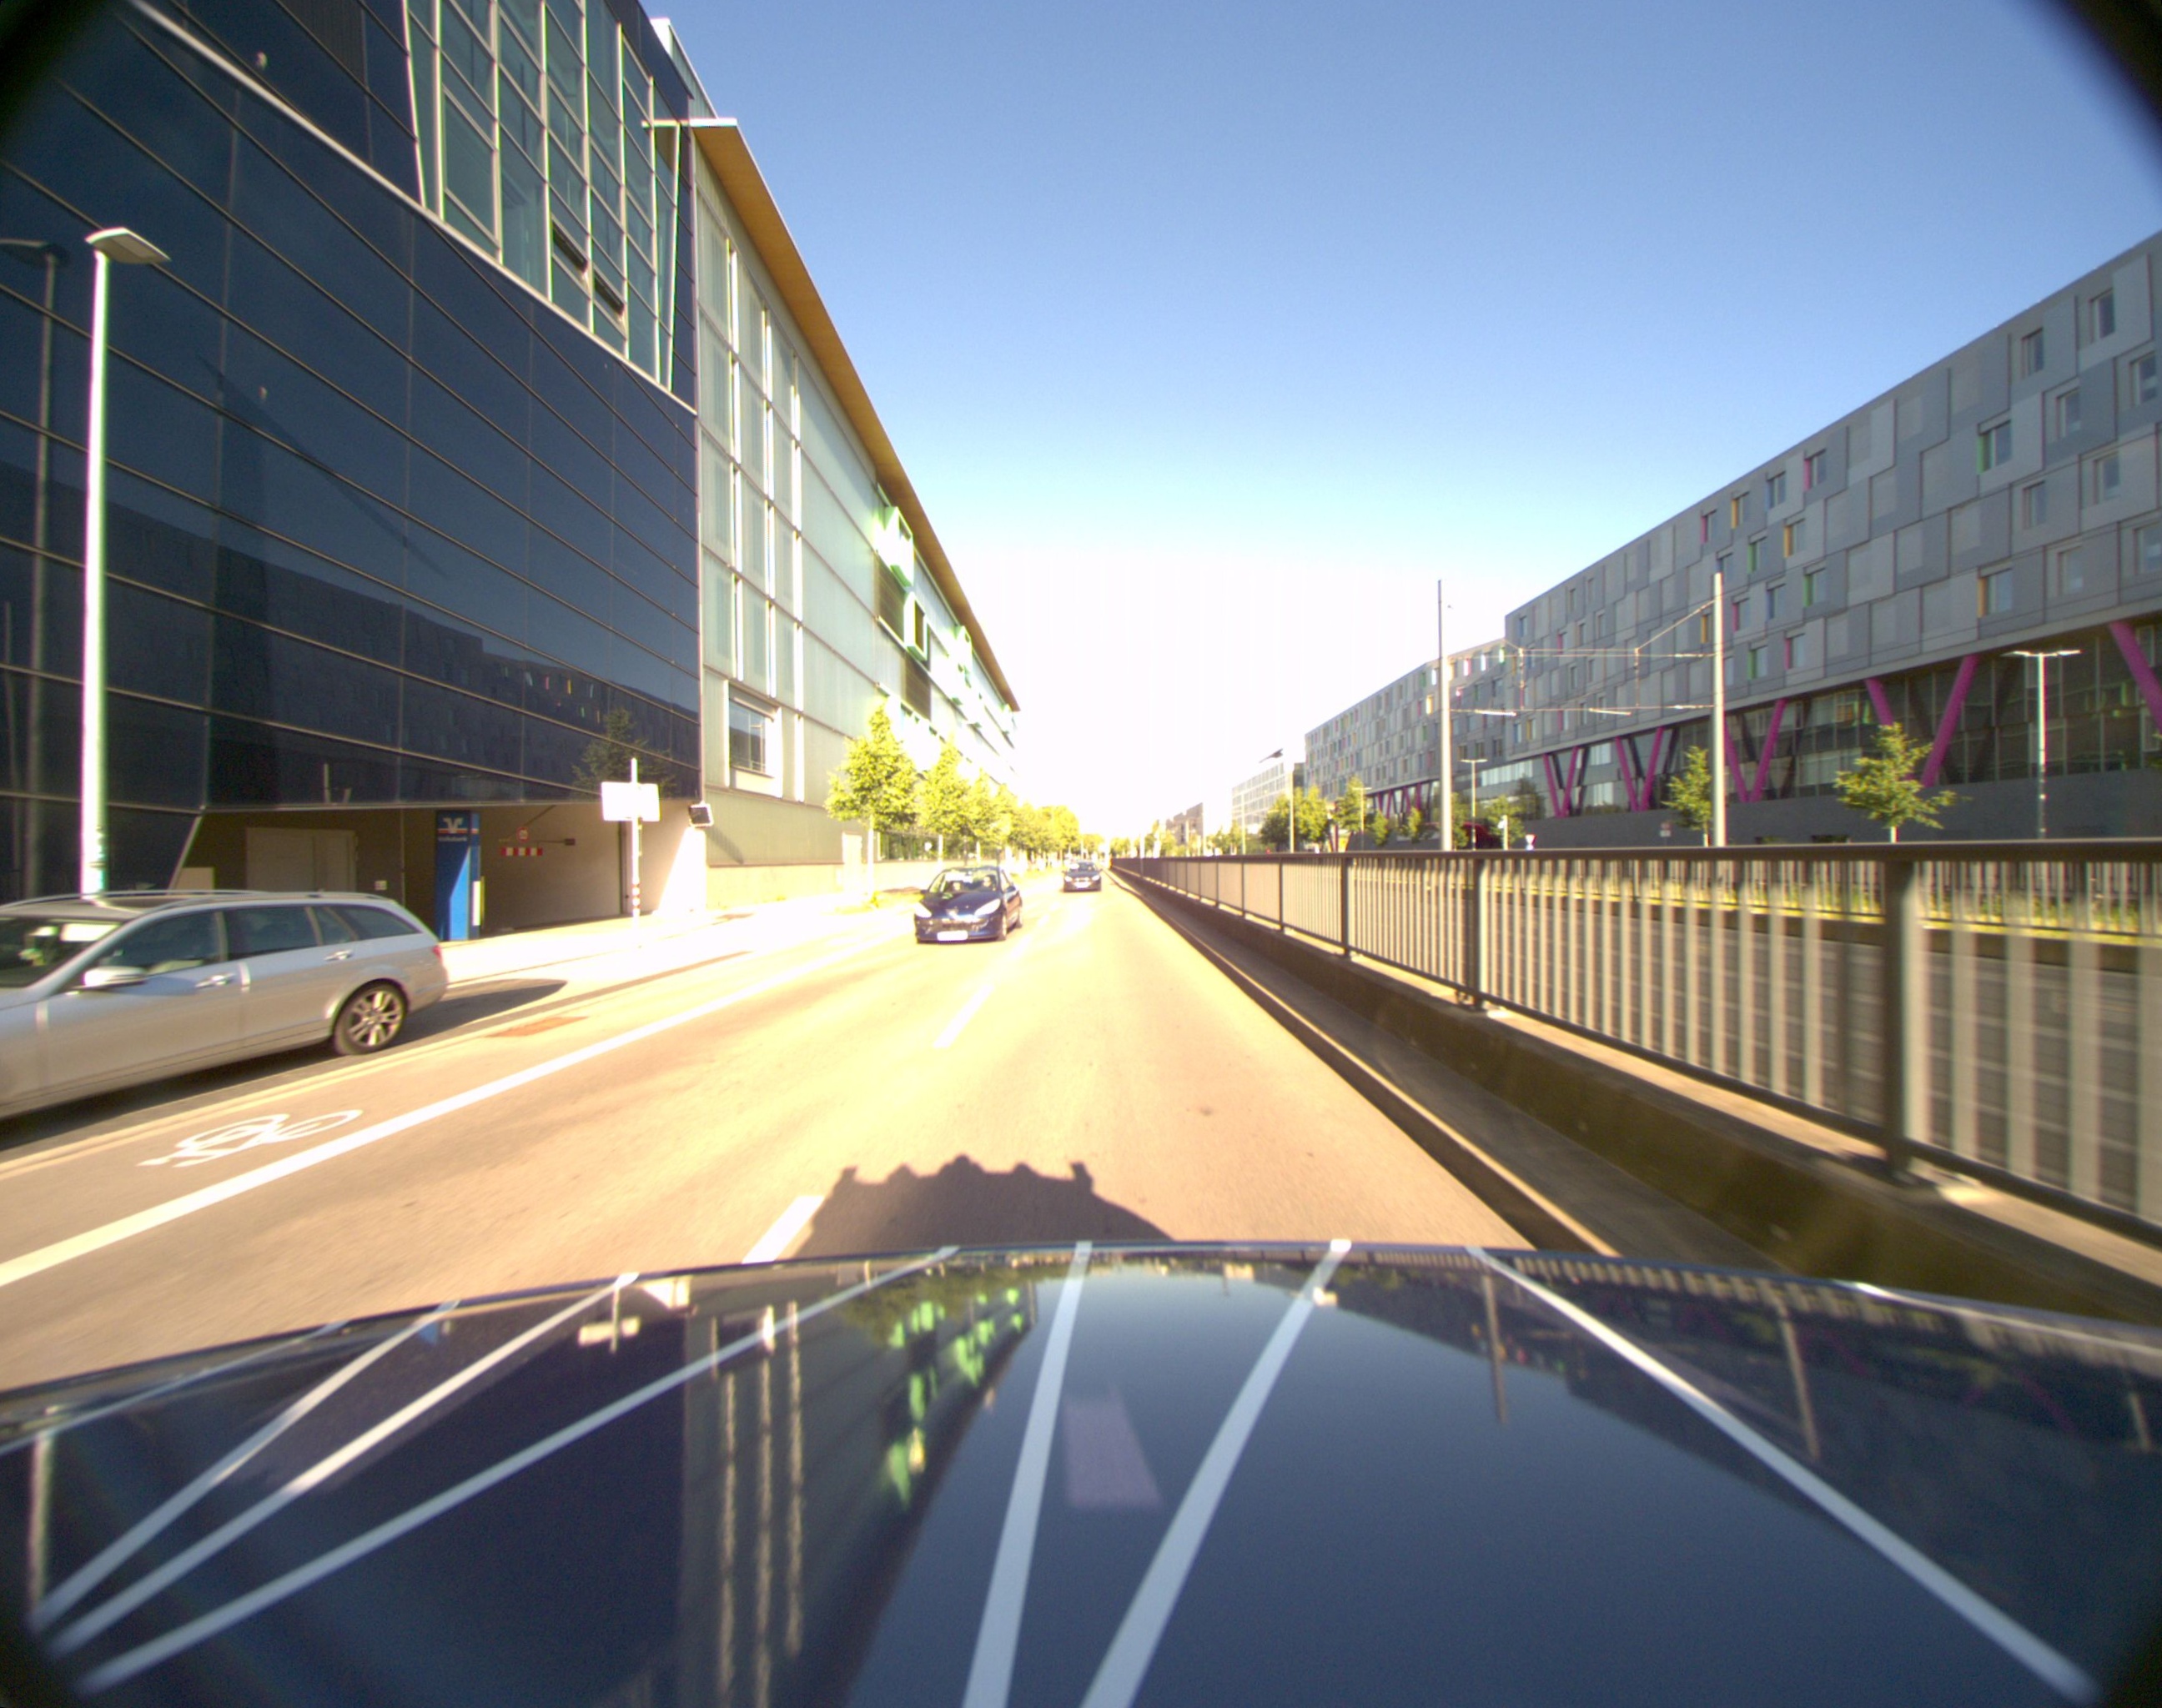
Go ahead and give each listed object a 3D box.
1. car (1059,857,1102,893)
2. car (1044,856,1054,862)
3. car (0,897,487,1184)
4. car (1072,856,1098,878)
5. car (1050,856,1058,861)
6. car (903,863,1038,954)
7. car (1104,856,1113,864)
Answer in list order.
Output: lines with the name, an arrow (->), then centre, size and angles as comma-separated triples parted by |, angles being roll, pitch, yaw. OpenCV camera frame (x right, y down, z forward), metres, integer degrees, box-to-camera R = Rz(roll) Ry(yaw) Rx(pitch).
car -> 0.050, 0.985, 36.977 | 1.803, 1.518, 4.606 | -3, 0, 3
car -> -8.981, 1.433, 213.676 | 1.898, 1.479, 4.348 | -2, 0, 6
car -> -7.258, 1.196, 5.637 | 1.857, 1.472, 4.854 | 1, 0, 0
car -> 0.363, 0.979, 59.632 | 1.803, 1.518, 4.606 | -3, 0, 3
car -> -7.971, 1.412, 223.438 | 1.898, 1.477, 4.050 | -2, 0, 2
car -> -2.159, 1.031, 16.250 | 1.802, 1.518, 4.607 | -3, 0, 5
car -> 6.336, 1.339, 173.837 | 1.998, 1.543, 4.000 | -4, 0, 1
